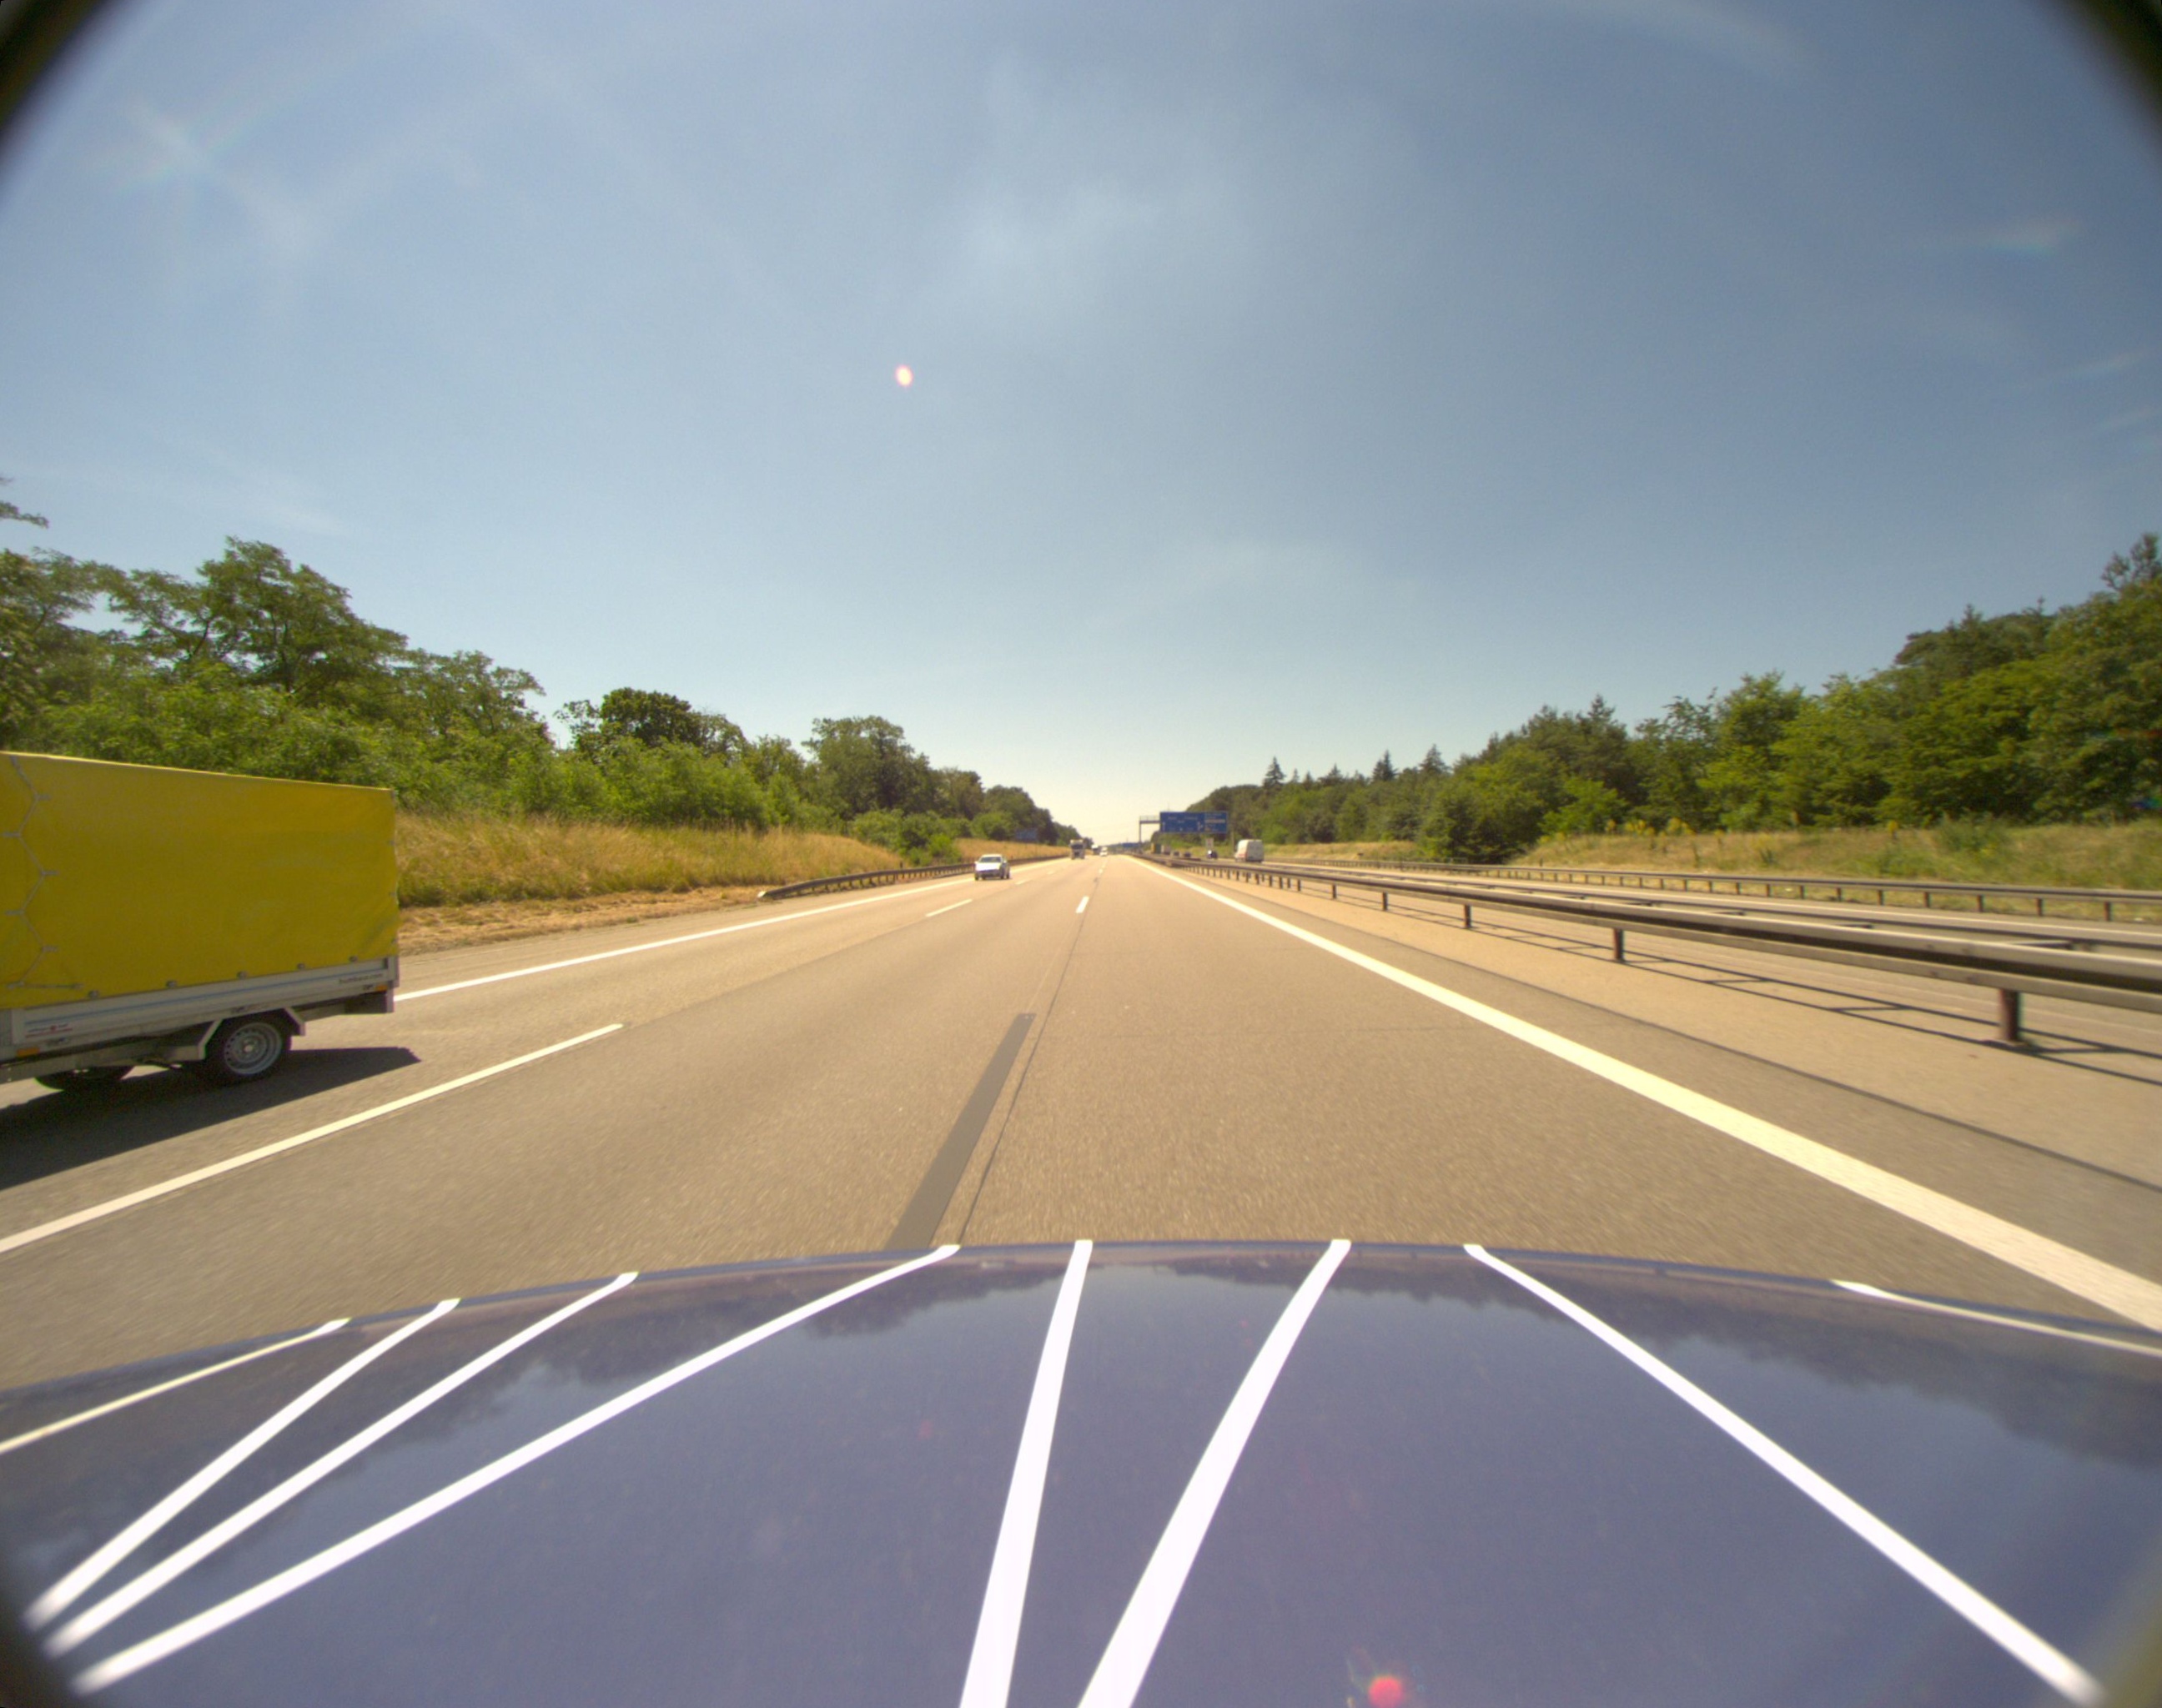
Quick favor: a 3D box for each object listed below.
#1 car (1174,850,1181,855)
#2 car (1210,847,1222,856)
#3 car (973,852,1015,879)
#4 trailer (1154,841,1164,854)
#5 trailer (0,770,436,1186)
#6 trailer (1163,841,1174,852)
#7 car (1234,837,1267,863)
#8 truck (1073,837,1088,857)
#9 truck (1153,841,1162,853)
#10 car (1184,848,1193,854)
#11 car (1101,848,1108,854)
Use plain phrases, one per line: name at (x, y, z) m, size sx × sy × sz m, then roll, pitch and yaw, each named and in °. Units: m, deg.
car at (28.039, -0.453, 220.312) m, size 1.527 × 1.531 × 4.110 m, roll 2°, pitch 1°, yaw 2°
car at (25.180, -0.534, 141.761) m, size 1.706 × 1.536 × 4.535 m, roll 2°, pitch 1°, yaw 2°
car at (-5.102, 0.626, 44.967) m, size 1.749 × 1.457 × 3.981 m, roll -2°, pitch 1°, yaw 3°
trailer at (25.602, -2.239, 249.491) m, size 2.469 × 4.049 × 14.280 m, roll 2°, pitch 1°, yaw 2°
trailer at (-6.768, 0.693, 4.945) m, size 1.707 × 2.276 × 3.839 m, roll -2°, pitch 1°, yaw 1°
trailer at (30.813, -2.684, 267.668) m, size 2.631 × 3.926 × 11.158 m, roll 2°, pitch 1°, yaw 2°
car at (18.362, -0.473, 82.624) m, size 2.170 × 2.609 × 7.544 m, roll 2°, pitch 1°, yaw 2°
truck at (-0.025, -1.299, 149.635) m, size 2.605 × 3.811 × 5.970 m, roll -2°, pitch 0°, yaw 2°
truck at (25.861, -2.291, 256.273) m, size 2.469 × 4.049 × 6.287 m, roll 2°, pitch 1°, yaw 2°
car at (27.263, -0.788, 192.482) m, size 1.679 × 1.358 × 4.890 m, roll 2°, pitch 1°, yaw 2°
car at (6.658, -0.877, 212.555) m, size 1.796 × 1.412 × 4.000 m, roll -2°, pitch 1°, yaw 1°
